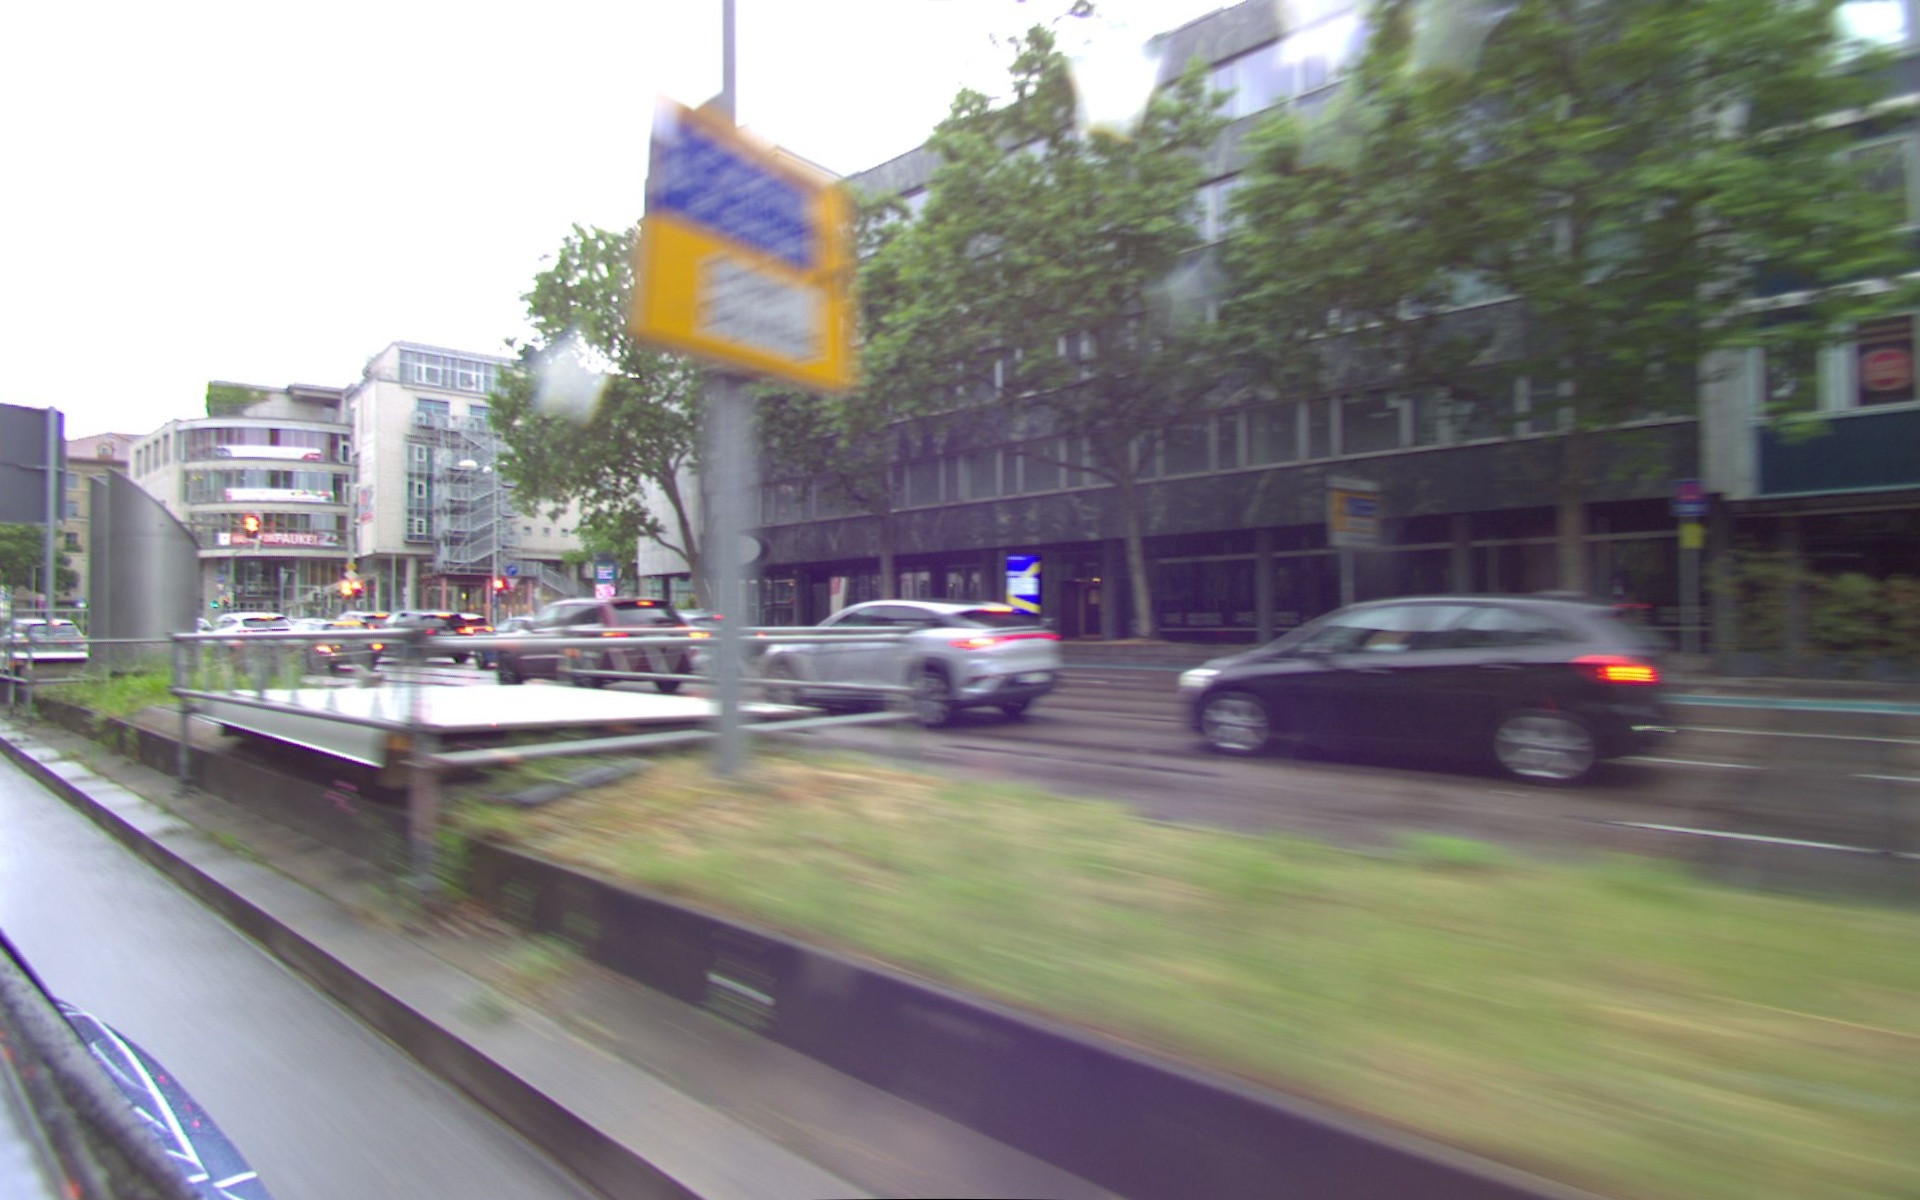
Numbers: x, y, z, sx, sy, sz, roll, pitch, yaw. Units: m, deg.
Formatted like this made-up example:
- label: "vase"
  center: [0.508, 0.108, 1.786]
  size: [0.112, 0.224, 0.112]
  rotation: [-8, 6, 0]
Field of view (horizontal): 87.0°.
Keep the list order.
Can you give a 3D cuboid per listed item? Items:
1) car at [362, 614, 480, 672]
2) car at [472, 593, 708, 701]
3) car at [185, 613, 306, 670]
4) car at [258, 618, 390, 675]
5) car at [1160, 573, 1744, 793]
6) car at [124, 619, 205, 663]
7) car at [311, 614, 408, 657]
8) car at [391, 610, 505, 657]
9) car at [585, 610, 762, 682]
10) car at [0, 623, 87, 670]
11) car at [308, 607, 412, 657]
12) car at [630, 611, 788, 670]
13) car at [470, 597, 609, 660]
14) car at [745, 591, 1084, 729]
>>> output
- label: "car"
  center: [-16.871, 1.316, 31.581]
  size: [4.410, 1.678, 1.824]
  rotation: [-2, -1, 41]
- label: "car"
  center: [-7.054, 0.824, 19.003]
  size: [5.104, 1.780, 1.817]
  rotation: [-2, -1, 39]
- label: "car"
  center: [-23.082, 1.301, 32.632]
  size: [4.791, 1.698, 1.859]
  rotation: [-2, -1, 38]
- label: "car"
  center: [-17.997, 1.277, 28.537]
  size: [4.914, 1.462, 1.824]
  rotation: [-2, -1, 41]
- label: "car"
  center: [4.348, 0.642, 9.437]
  size: [4.541, 1.564, 1.893]
  rotation: [-2, -1, 42]
- label: "car"
  center: [-28.674, 1.443, 36.467]
  size: [3.429, 1.487, 1.699]
  rotation: [-2, -1, 41]
- label: "car"
  center: [-24.622, 1.423, 41.438]
  size: [4.653, 1.630, 1.741]
  rotation: [-1, 0, 37]
- label: "car"
  center: [-18.928, 1.211, 37.371]
  size: [4.580, 1.616, 1.975]
  rotation: [-1, 0, 37]
- label: "car"
  center: [-6.659, 1.020, 23.281]
  size: [4.567, 1.502, 1.701]
  rotation: [-2, -1, 41]
- label: "car"
  center: [-31.534, 1.570, 34.709]
  size: [4.162, 1.493, 1.824]
  rotation: [-2, -1, 41]
- label: "car"
  center: [-20.391, 1.070, 34.344]
  size: [3.995, 1.577, 1.736]
  rotation: [-1, 0, 38]
- label: "car"
  center: [-7.016, 1.149, 28.045]
  size: [4.582, 1.457, 1.872]
  rotation: [-4, -3, 39]
- label: "car"
  center: [-11.351, 0.735, 27.205]
  size: [3.995, 1.577, 1.736]
  rotation: [-1, 0, 38]
- label: "car"
  center: [-0.789, 0.745, 13.943]
  size: [4.830, 1.585, 1.716]
  rotation: [-2, -1, 42]
